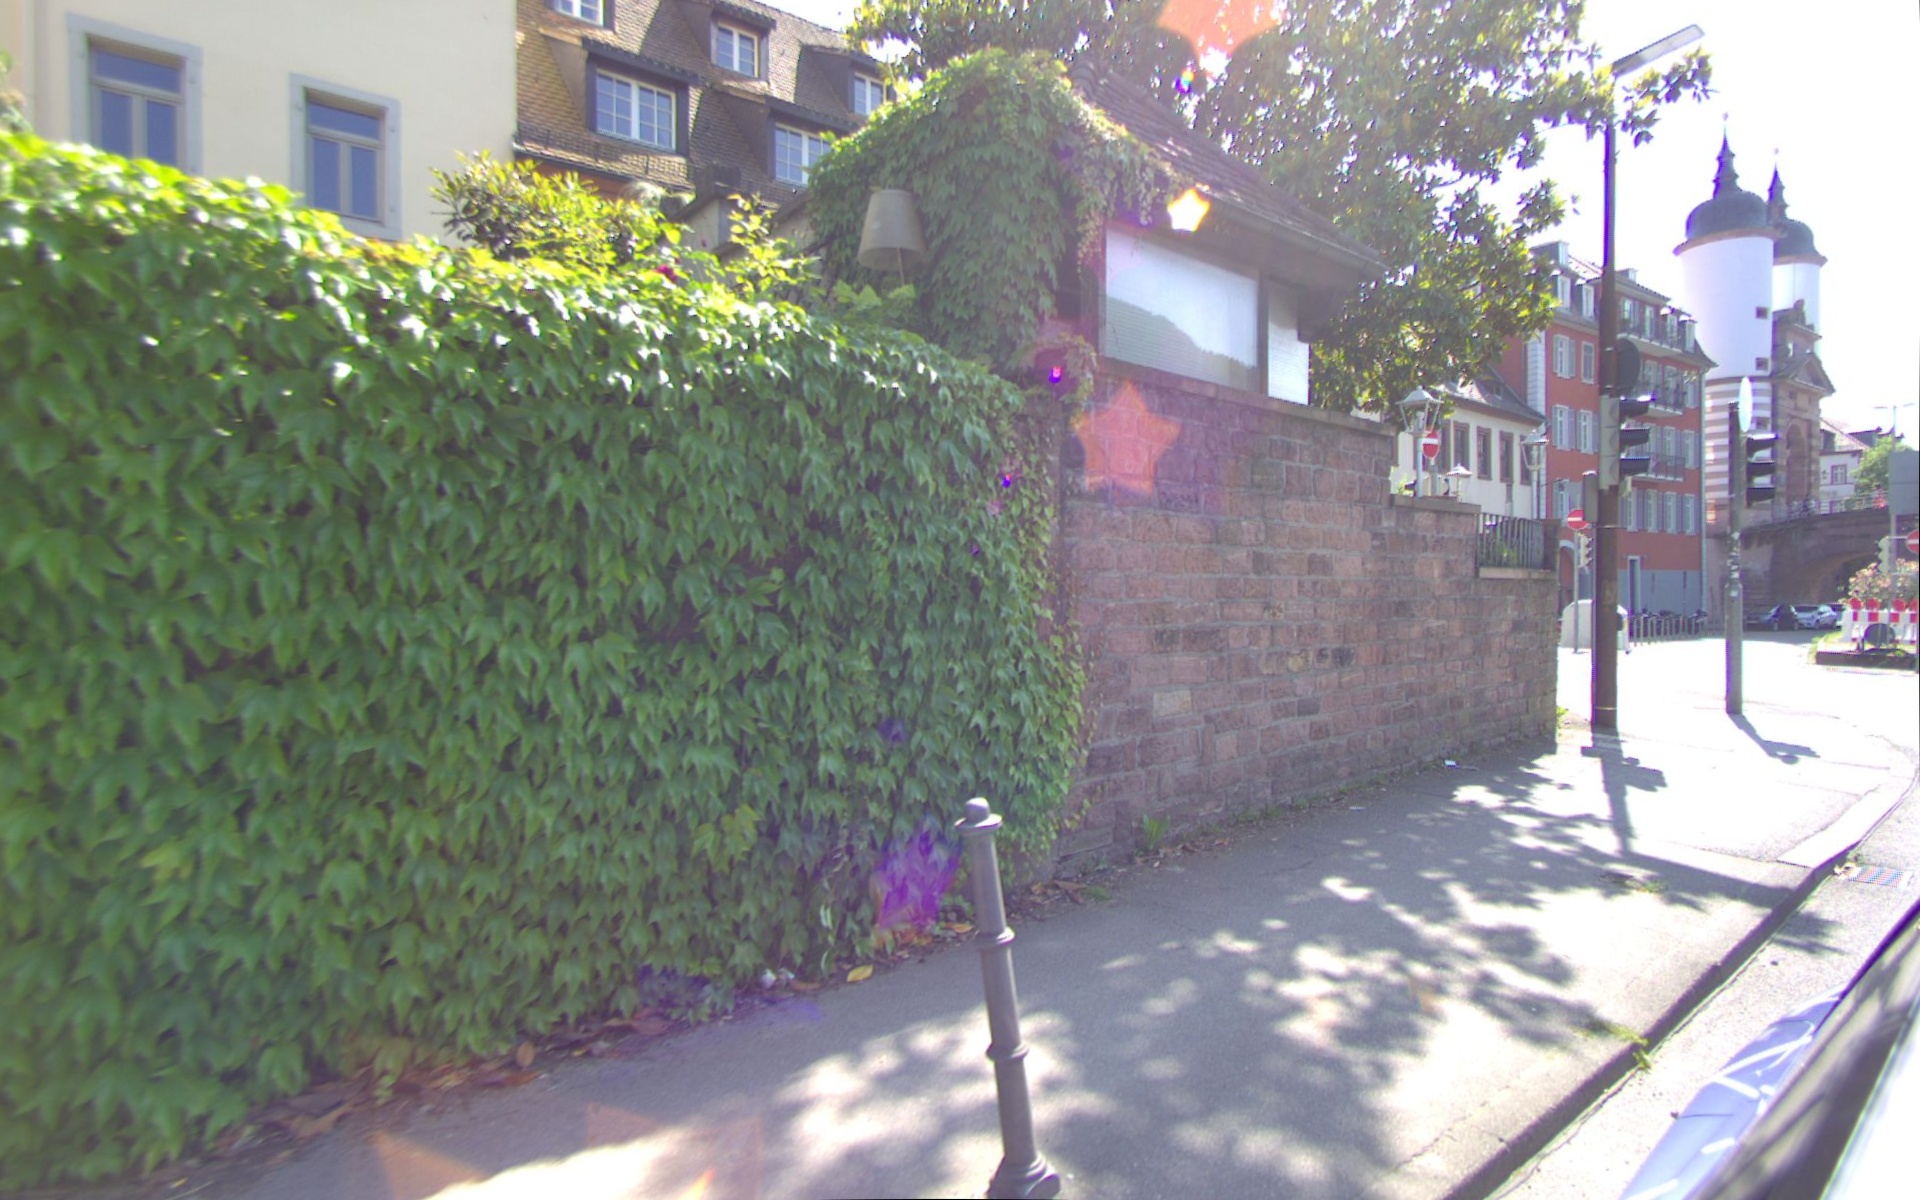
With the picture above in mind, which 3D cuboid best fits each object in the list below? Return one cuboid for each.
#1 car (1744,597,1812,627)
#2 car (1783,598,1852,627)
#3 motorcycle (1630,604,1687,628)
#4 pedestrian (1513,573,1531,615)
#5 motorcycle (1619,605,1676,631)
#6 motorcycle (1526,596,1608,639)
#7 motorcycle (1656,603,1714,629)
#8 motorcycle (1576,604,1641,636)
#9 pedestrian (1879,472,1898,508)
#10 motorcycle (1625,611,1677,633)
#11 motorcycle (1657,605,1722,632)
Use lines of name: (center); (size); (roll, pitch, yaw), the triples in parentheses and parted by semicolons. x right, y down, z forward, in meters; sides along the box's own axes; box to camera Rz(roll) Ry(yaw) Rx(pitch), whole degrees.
car: (45.691, 0.637, 56.519); (3.734, 1.562, 1.679); (-1, 0, -29)
car: (49.861, 0.698, 58.826); (4.330, 1.511, 1.901); (-1, 2, -33)
motorcycle: (33.491, 0.770, 48.521); (2.161, 1.090, 0.627); (0, 1, 9)
pedestrian: (24.785, -0.277, 44.633); (0.608, 1.845, 0.495); (-2, 2, -41)
motorcycle: (32.332, 0.826, 47.616); (2.161, 1.162, 0.627); (0, 1, 9)
motorcycle: (23.295, 0.660, 38.902); (2.461, 1.552, 1.049); (1, 1, 15)
motorcycle: (35.386, 0.781, 49.435); (2.120, 1.249, 0.839); (1, 0, 12)
motorcycle: (27.026, 0.828, 42.175); (2.168, 1.283, 0.625); (1, 1, 17)
pedestrian: (54.362, -6.453, 59.260); (0.694, 2.038, 0.641); (-2, 2, -35)
motorcycle: (31.676, 1.008, 46.434); (1.900, 0.999, 0.546); (0, 1, 9)
motorcycle: (36.399, 0.920, 50.523); (2.504, 1.249, 0.839); (1, 0, 12)
